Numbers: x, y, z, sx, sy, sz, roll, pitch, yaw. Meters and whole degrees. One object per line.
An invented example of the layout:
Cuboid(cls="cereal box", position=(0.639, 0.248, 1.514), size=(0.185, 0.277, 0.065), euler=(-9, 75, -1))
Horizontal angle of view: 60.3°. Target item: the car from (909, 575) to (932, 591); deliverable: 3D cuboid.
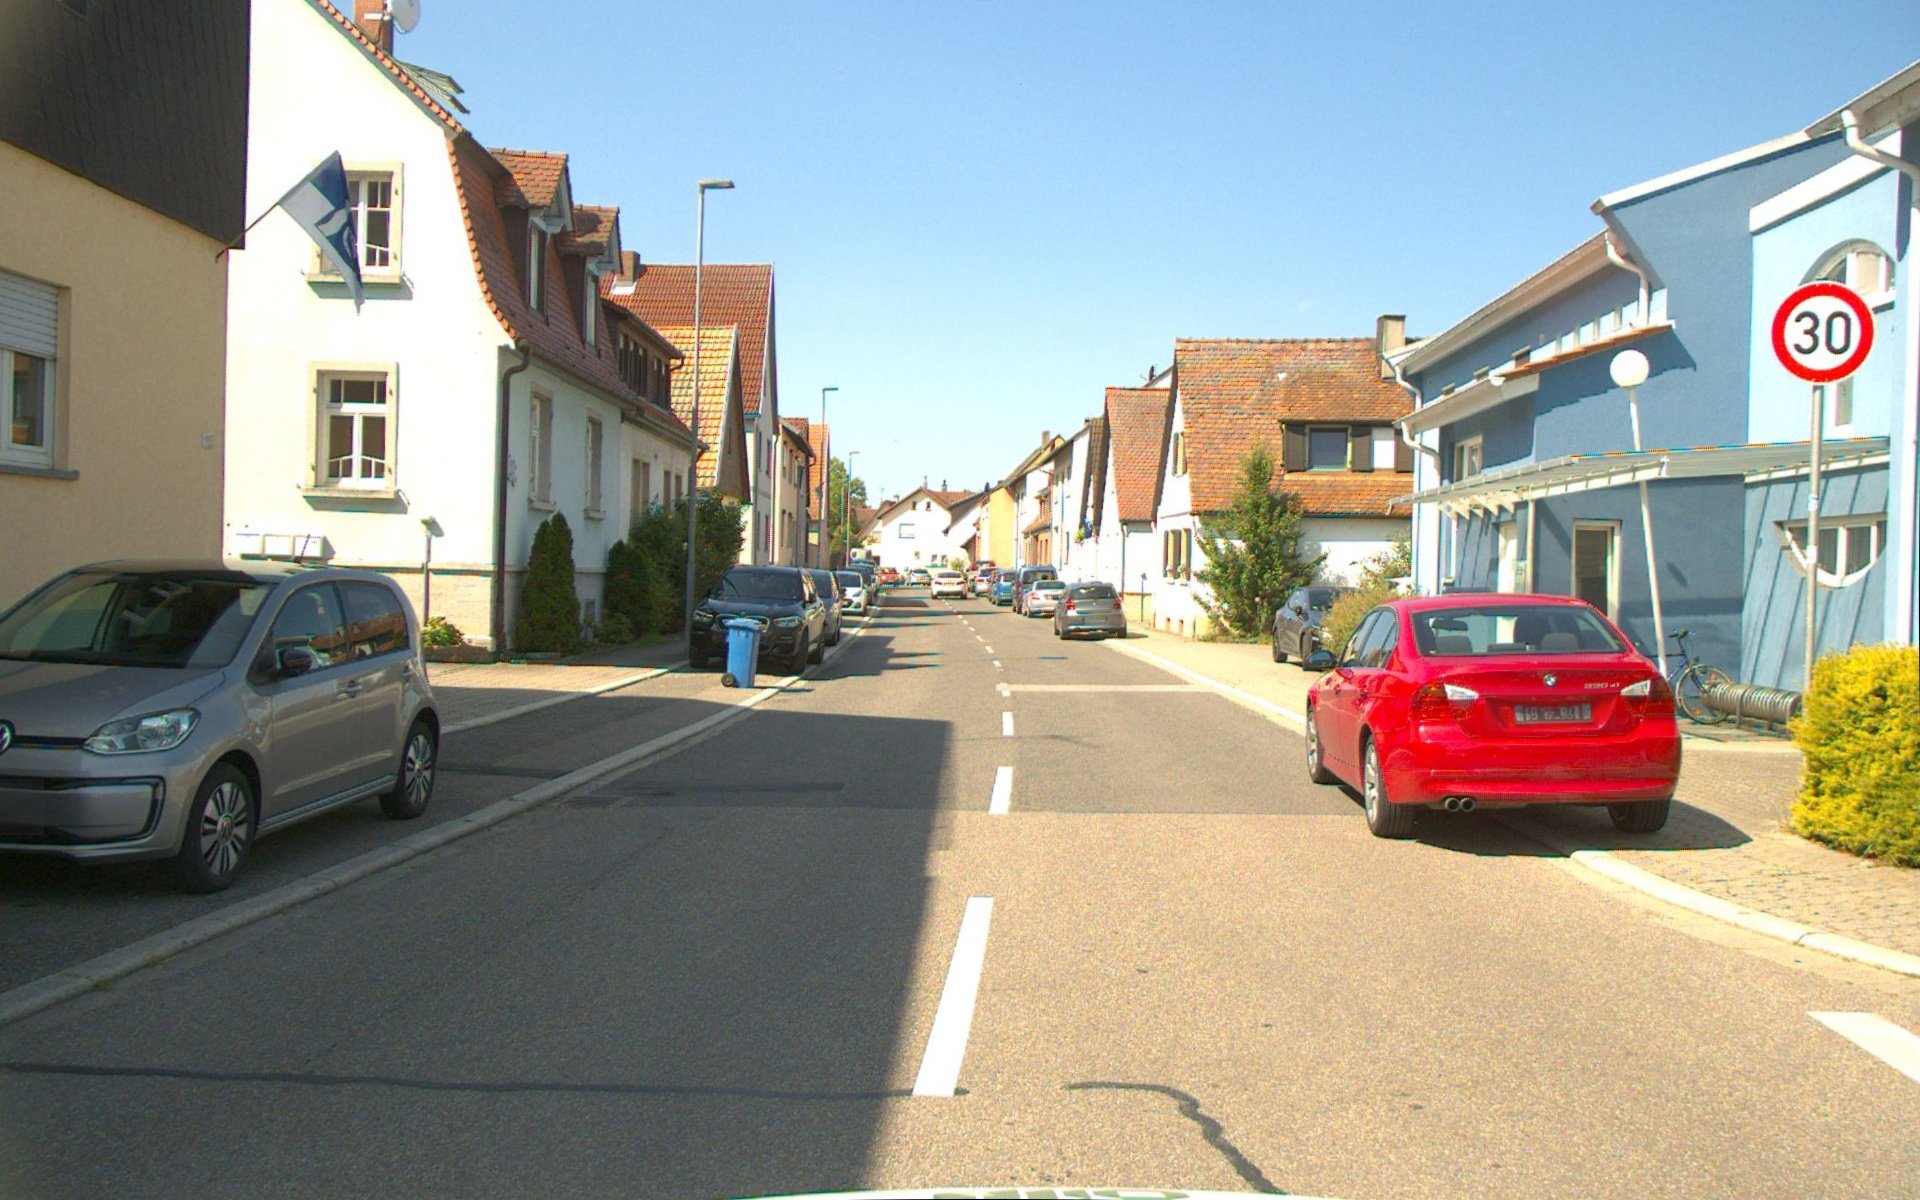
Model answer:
Cuboid(cls="car", position=(-3.412, -1.468, 141.581), size=(1.953, 1.310, 3.802), euler=(0, 1, -2))

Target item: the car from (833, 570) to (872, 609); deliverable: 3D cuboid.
Cuboid(cls="car", position=(-4.732, -0.474, 72.977), size=(1.587, 1.605, 3.960), euler=(1, 1, -3))

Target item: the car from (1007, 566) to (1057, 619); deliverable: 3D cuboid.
Cuboid(cls="car", position=(2.792, -0.316, 64.596), size=(1.616, 1.943, 3.624), euler=(1, 1, -3))

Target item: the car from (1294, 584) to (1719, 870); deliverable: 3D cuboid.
Cuboid(cls="car", position=(3.376, 0.672, 11.076), size=(1.696, 1.520, 4.357), euler=(-1, 0, 5))

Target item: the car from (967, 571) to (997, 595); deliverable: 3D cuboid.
Cuboid(cls="car", position=(1.355, -1.053, 101.262), size=(1.731, 1.458, 3.449), euler=(0, 1, -1))

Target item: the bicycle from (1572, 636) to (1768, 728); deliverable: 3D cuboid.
Cuboid(cls="bicycle", position=(7.947, 0.913, 18.566), size=(1.913, 0.998, 0.657), euler=(0, 1, 4))

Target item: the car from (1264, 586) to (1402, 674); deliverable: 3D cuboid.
Cuboid(cls="car", position=(6.637, 0.487, 29.822), size=(1.655, 1.444, 4.147), euler=(1, 1, 2))

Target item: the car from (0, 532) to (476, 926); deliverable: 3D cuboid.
Cuboid(cls="car", position=(-4.011, 0.475, 8.555), size=(1.606, 1.527, 3.783), euler=(4, 1, 4))

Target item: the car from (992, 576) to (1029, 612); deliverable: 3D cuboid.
Cuboid(cls="car", position=(2.290, -0.298, 75.674), size=(1.392, 1.541, 3.302), euler=(1, 1, -3))

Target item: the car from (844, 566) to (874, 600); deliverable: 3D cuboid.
Cuboid(cls="car", position=(-5.406, -0.924, 88.976), size=(1.497, 1.743, 3.624), euler=(1, 1, -3))

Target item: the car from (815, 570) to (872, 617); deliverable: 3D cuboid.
Cuboid(cls="car", position=(-4.148, -0.273, 59.378), size=(1.769, 1.574, 4.403), euler=(1, 1, -1))

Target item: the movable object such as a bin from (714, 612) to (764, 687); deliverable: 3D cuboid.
Cuboid(cls="movable object such as a bin", position=(-3.068, 0.688, 22.998), size=(0.584, 0.999, 0.531), euler=(2, 1, 0))

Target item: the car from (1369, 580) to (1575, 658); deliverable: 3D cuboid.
Cuboid(cls="car", position=(11.358, 0.402, 36.879), size=(4.086, 1.686, 1.813), euler=(0, 0, 4))

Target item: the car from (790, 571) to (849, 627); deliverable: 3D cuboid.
Cuboid(cls="car", position=(-4.178, -0.044, 49.441), size=(1.521, 1.571, 2.987), euler=(1, 1, -1))

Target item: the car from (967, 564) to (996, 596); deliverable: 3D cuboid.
Cuboid(cls="car", position=(1.358, -1.286, 106.361), size=(1.731, 2.039, 3.449), euler=(0, 0, -1))

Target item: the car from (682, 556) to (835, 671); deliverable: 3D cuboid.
Cuboid(cls="car", position=(-3.307, 0.190, 28.053), size=(1.881, 1.696, 4.666), euler=(3, 1, 1))

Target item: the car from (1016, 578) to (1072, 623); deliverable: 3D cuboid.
Cuboid(cls="car", position=(2.999, -0.010, 59.736), size=(1.670, 1.522, 3.451), euler=(1, 1, -3))

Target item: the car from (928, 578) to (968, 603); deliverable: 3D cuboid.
Cuboid(cls="car", position=(-0.660, -0.499, 86.897), size=(1.953, 1.310, 3.999), euler=(0, 1, -2))

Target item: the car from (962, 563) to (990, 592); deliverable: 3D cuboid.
Cuboid(cls="car", position=(0.884, -1.268, 93.249), size=(1.392, 1.541, 3.302), euler=(1, 1, -3))

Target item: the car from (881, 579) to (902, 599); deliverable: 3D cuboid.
Cuboid(cls="car", position=(-5.448, -0.853, 131.305), size=(1.569, 1.515, 3.624), euler=(1, 1, -3))

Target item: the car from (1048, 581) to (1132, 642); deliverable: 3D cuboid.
Cuboid(cls="car", position=(3.327, 0.262, 42.978), size=(1.670, 1.458, 3.888), euler=(2, 1, -3))

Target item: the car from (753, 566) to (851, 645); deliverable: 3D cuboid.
Cuboid(cls="car", position=(-3.562, 0.086, 38.051), size=(1.835, 1.665, 4.663), euler=(1, 1, -1))
